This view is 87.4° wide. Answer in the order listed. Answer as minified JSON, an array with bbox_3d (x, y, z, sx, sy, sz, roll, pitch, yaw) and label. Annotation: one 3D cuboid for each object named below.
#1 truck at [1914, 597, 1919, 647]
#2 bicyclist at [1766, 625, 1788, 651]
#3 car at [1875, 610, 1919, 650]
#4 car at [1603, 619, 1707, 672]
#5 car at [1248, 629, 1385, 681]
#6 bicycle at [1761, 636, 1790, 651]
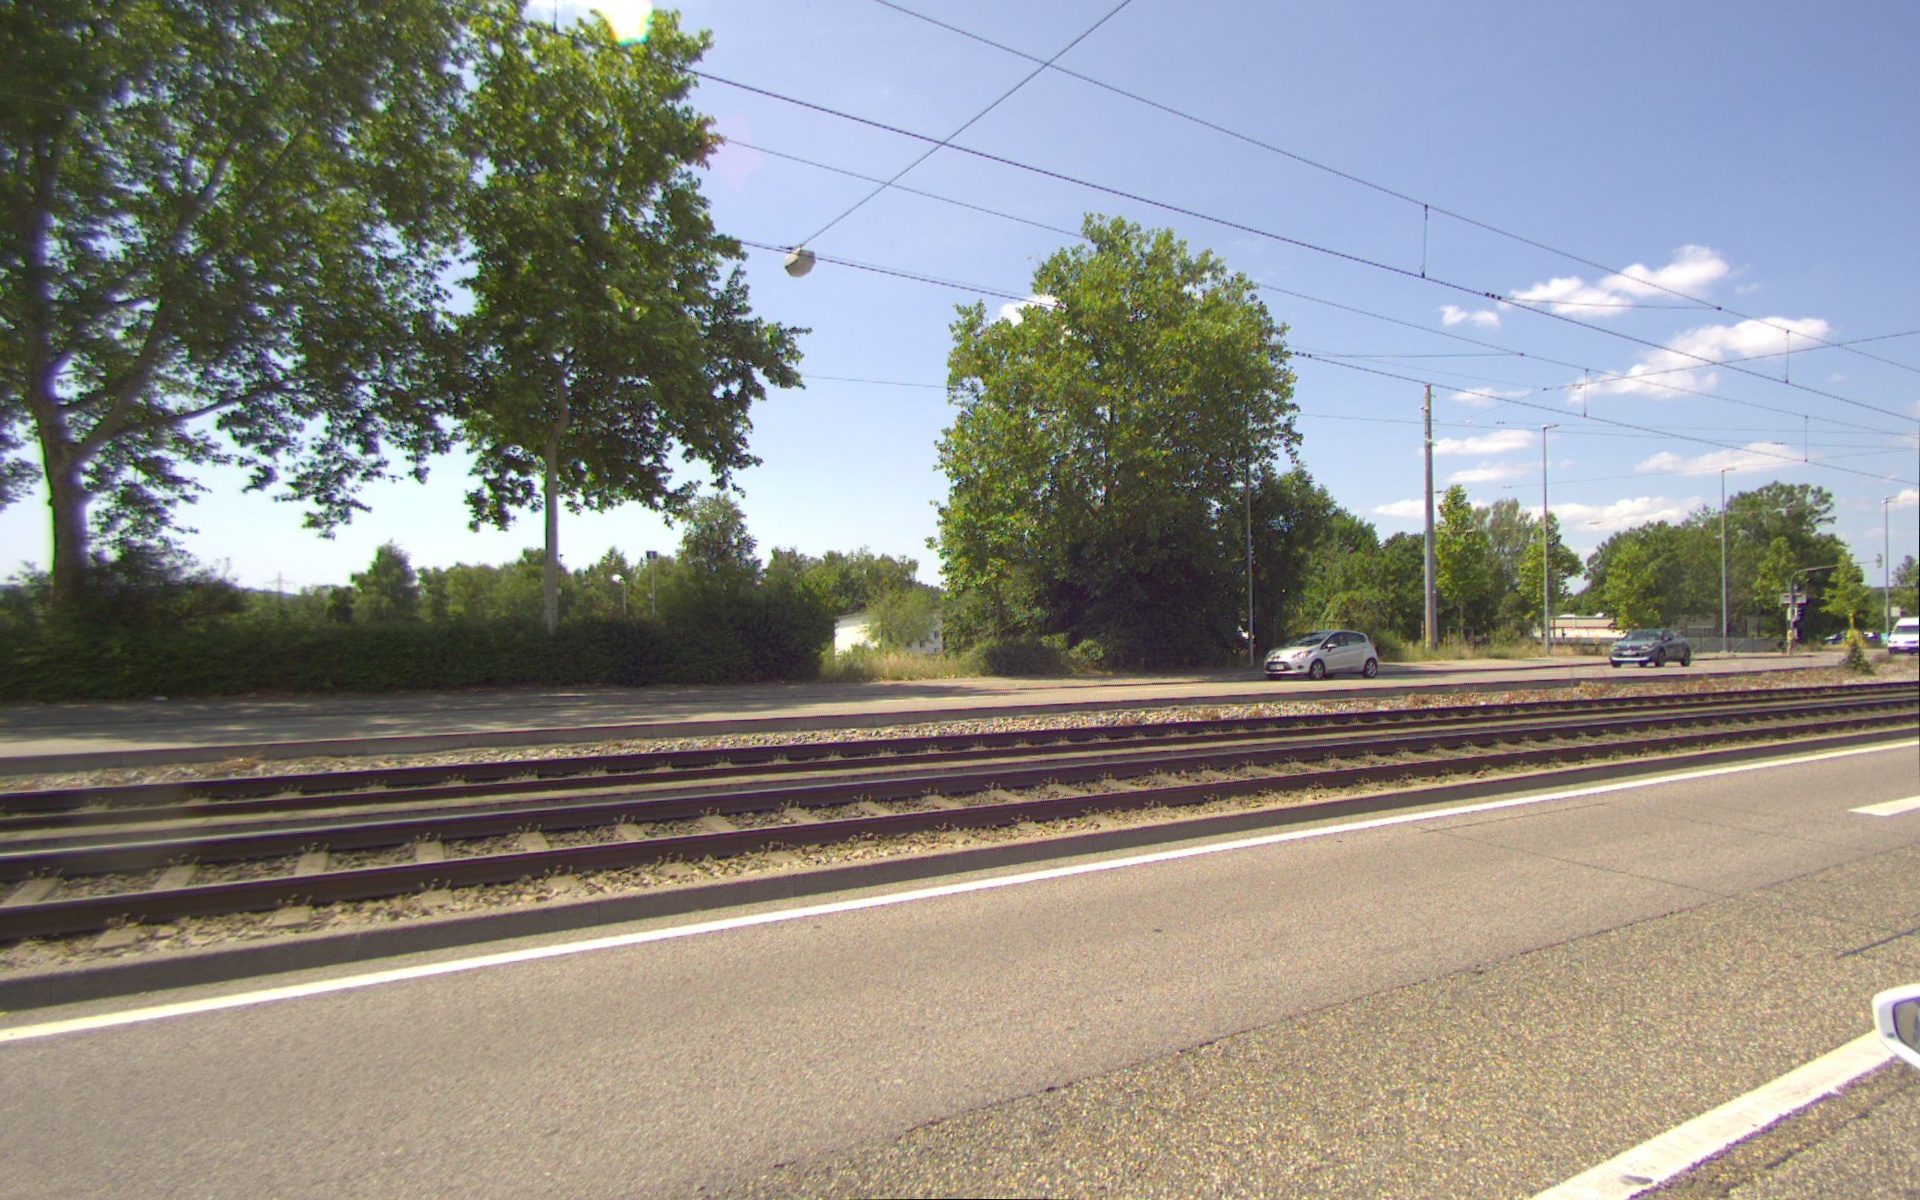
[{"bbox_3d":[73.847,1.669,74.588,6.364,3.616,2.754,1,0,-30],"label":"truck"},{"bbox_3d":[56.883,2.629,69.911,0.337,1.798,1.112,1,0,-34],"label":"bicyclist"},{"bbox_3d":[66.318,2.075,69.852,6.164,2.623,2.232,0,-3,-31],"label":"car"},{"bbox_3d":[28.149,1.782,40.679,4.364,1.944,1.981,1,1,-34],"label":"car"},{"bbox_3d":[10.493,1.586,29.539,3.841,1.434,1.813,1,-3,-33],"label":"car"},{"bbox_3d":[56.829,3.020,70.005,0.480,1.000,1.482,1,0,-33],"label":"bicycle"}]
